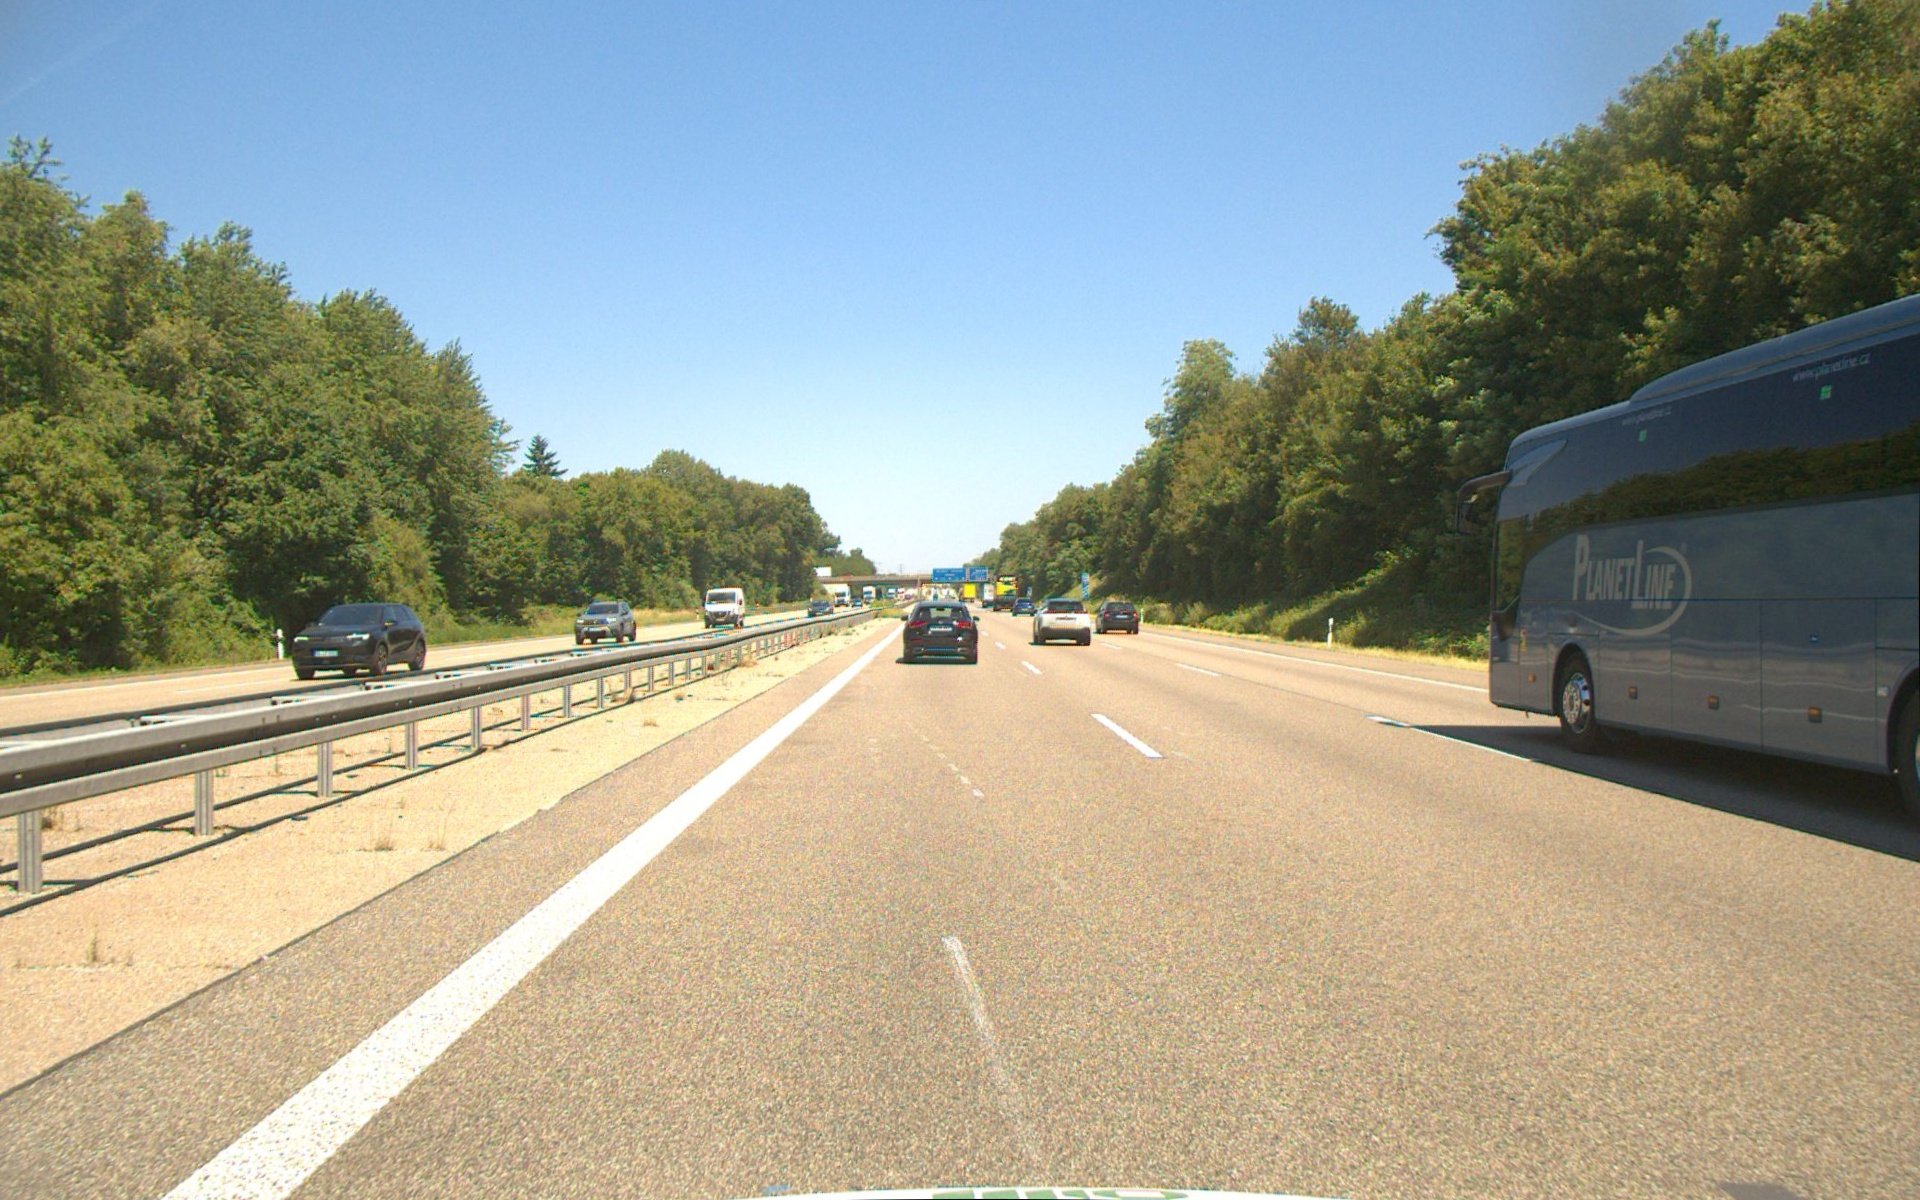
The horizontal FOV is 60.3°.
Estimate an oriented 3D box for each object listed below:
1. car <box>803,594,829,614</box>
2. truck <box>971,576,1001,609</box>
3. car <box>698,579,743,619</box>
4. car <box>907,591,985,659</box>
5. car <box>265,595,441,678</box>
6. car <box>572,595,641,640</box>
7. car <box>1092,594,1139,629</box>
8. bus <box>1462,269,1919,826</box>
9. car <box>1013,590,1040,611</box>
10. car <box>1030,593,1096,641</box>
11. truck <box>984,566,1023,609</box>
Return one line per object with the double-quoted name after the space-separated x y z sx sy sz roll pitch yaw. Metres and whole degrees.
-11.313 0.338 129.859 1.769 1.506 4.566 -1 0 -2 "car"
3.713 -1.115 245.617 3.574 4.670 17.240 1 0 -2 "truck"
-14.434 -0.062 99.880 2.045 2.328 5.275 -1 0 -2 "car"
-0.390 0.568 39.807 1.763 1.528 4.240 0 0 -2 "car"
-13.808 0.772 37.981 2.229 1.680 4.927 -2 0 -1 "car"
-13.917 0.665 65.366 1.783 1.659 4.796 -1 0 -2 "car"
6.988 0.508 74.714 1.753 1.487 3.949 0 0 0 "car"
7.589 -0.346 13.650 2.746 3.659 12.470 0 0 -2 "bus"
5.761 0.059 143.668 2.034 1.781 4.240 -1 0 -2 "car"
3.487 0.546 56.496 1.861 1.559 4.240 0 0 -2 "car"
4.938 -1.348 191.062 3.574 4.670 15.760 1 0 -2 "truck"
